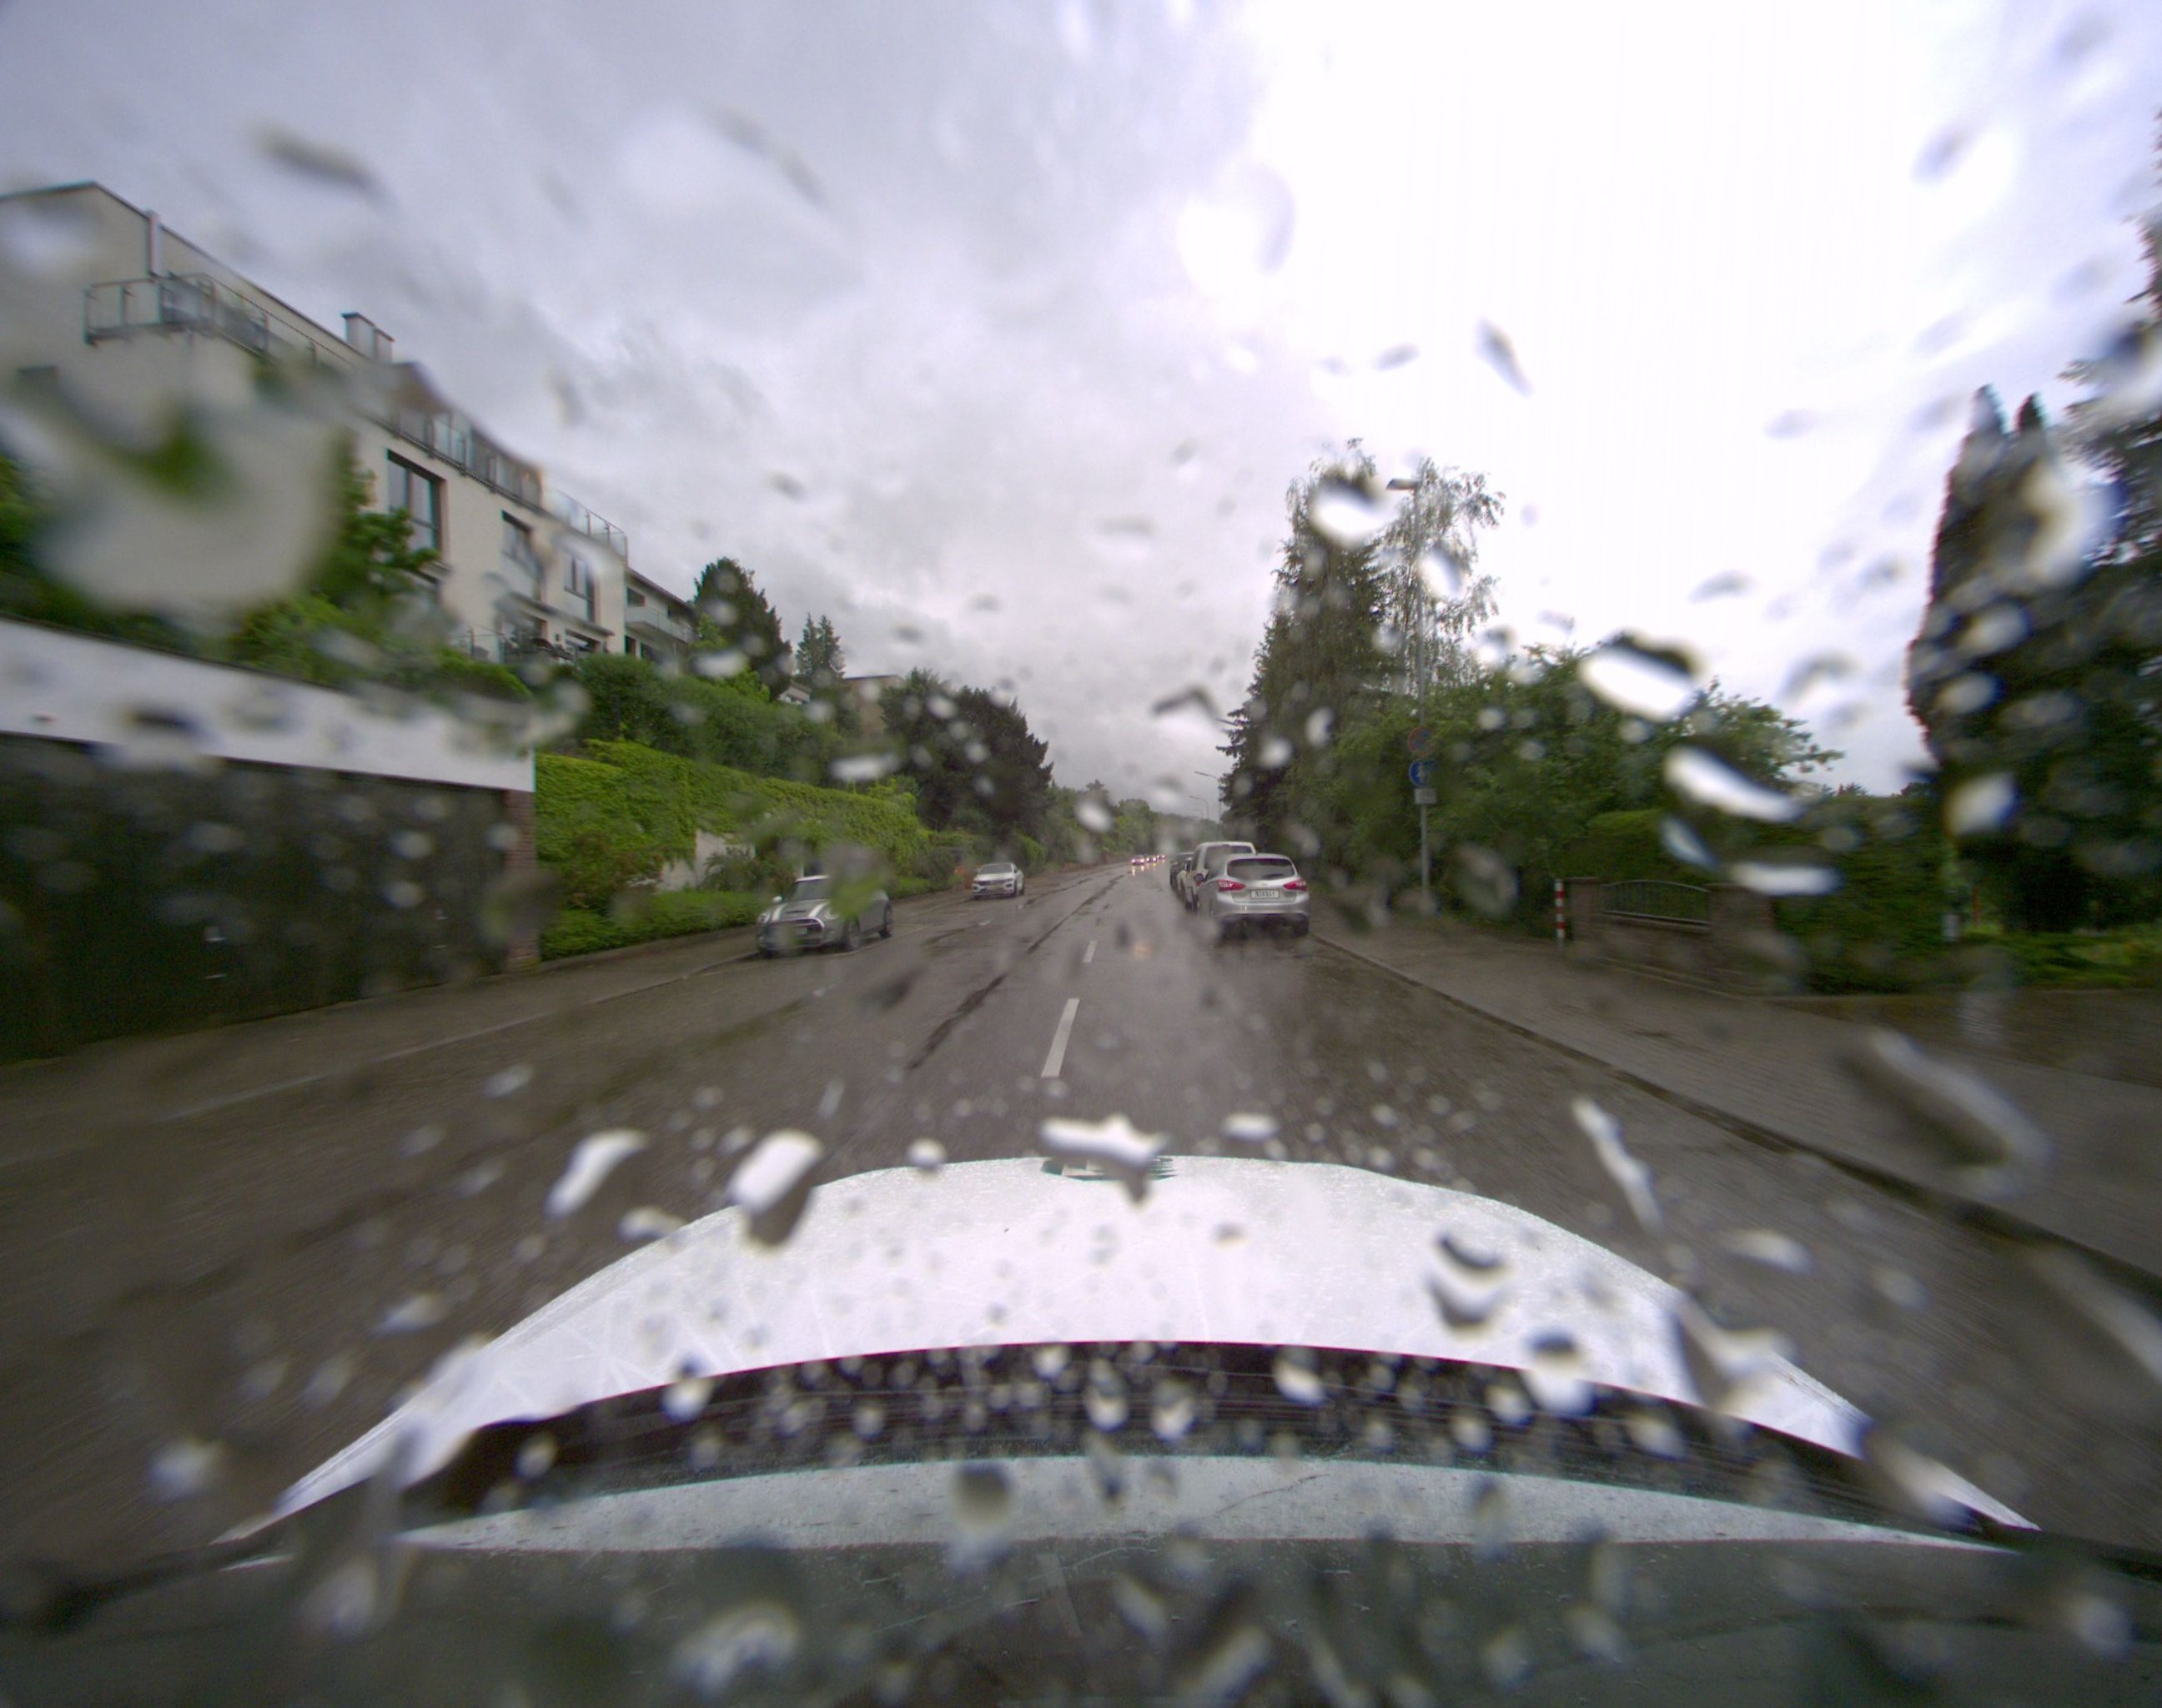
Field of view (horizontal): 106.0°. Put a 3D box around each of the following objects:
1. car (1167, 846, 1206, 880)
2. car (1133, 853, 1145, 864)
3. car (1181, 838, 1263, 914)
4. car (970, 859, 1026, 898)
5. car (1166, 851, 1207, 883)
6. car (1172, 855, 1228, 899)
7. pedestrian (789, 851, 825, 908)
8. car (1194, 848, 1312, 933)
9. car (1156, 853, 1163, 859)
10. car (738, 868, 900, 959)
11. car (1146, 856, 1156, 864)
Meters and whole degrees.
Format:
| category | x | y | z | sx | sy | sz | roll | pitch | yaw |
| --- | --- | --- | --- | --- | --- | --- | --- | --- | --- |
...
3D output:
| category | x | y | z | sx | sy | sz | roll | pitch | yaw |
| --- | --- | --- | --- | --- | --- | --- | --- | --- | --- |
| car | 5.494 | 0.485 | 42.769 | 1.807 | 1.645 | 4.401 | -1 | -1 | 5 |
| car | 8.191 | 0.669 | 114.953 | 1.655 | 1.461 | 3.664 | -1 | -1 | 3 |
| car | 3.644 | 0.561 | 21.744 | 1.776 | 1.790 | 4.366 | -1 | -1 | 5 |
| car | -3.492 | 1.021 | 34.906 | 1.749 | 1.498 | 4.222 | -3 | -1 | 2 |
| car | 4.602 | 0.563 | 36.018 | 1.623 | 1.282 | 4.453 | -1 | -1 | 5 |
| car | 4.109 | 0.784 | 28.659 | 1.701 | 1.403 | 4.209 | -1 | -1 | 5 |
| pedestrian | -9.165 | 0.854 | 27.262 | 0.838 | 1.880 | 0.903 | 0 | -1 | 6 |
| car | 3.277 | 0.663 | 16.294 | 1.781 | 1.460 | 4.314 | -1 | -1 | 5 |
| car | 19.591 | 0.524 | 202.749 | 1.751 | 1.496 | 4.134 | -1 | -1 | 6 |
| car | -4.917 | 1.055 | 15.850 | 1.749 | 1.402 | 3.771 | -4 | -1 | 1 |
| car | 12.289 | 1.022 | 142.962 | 1.646 | 1.352 | 3.992 | -1 | -1 | 5 |
